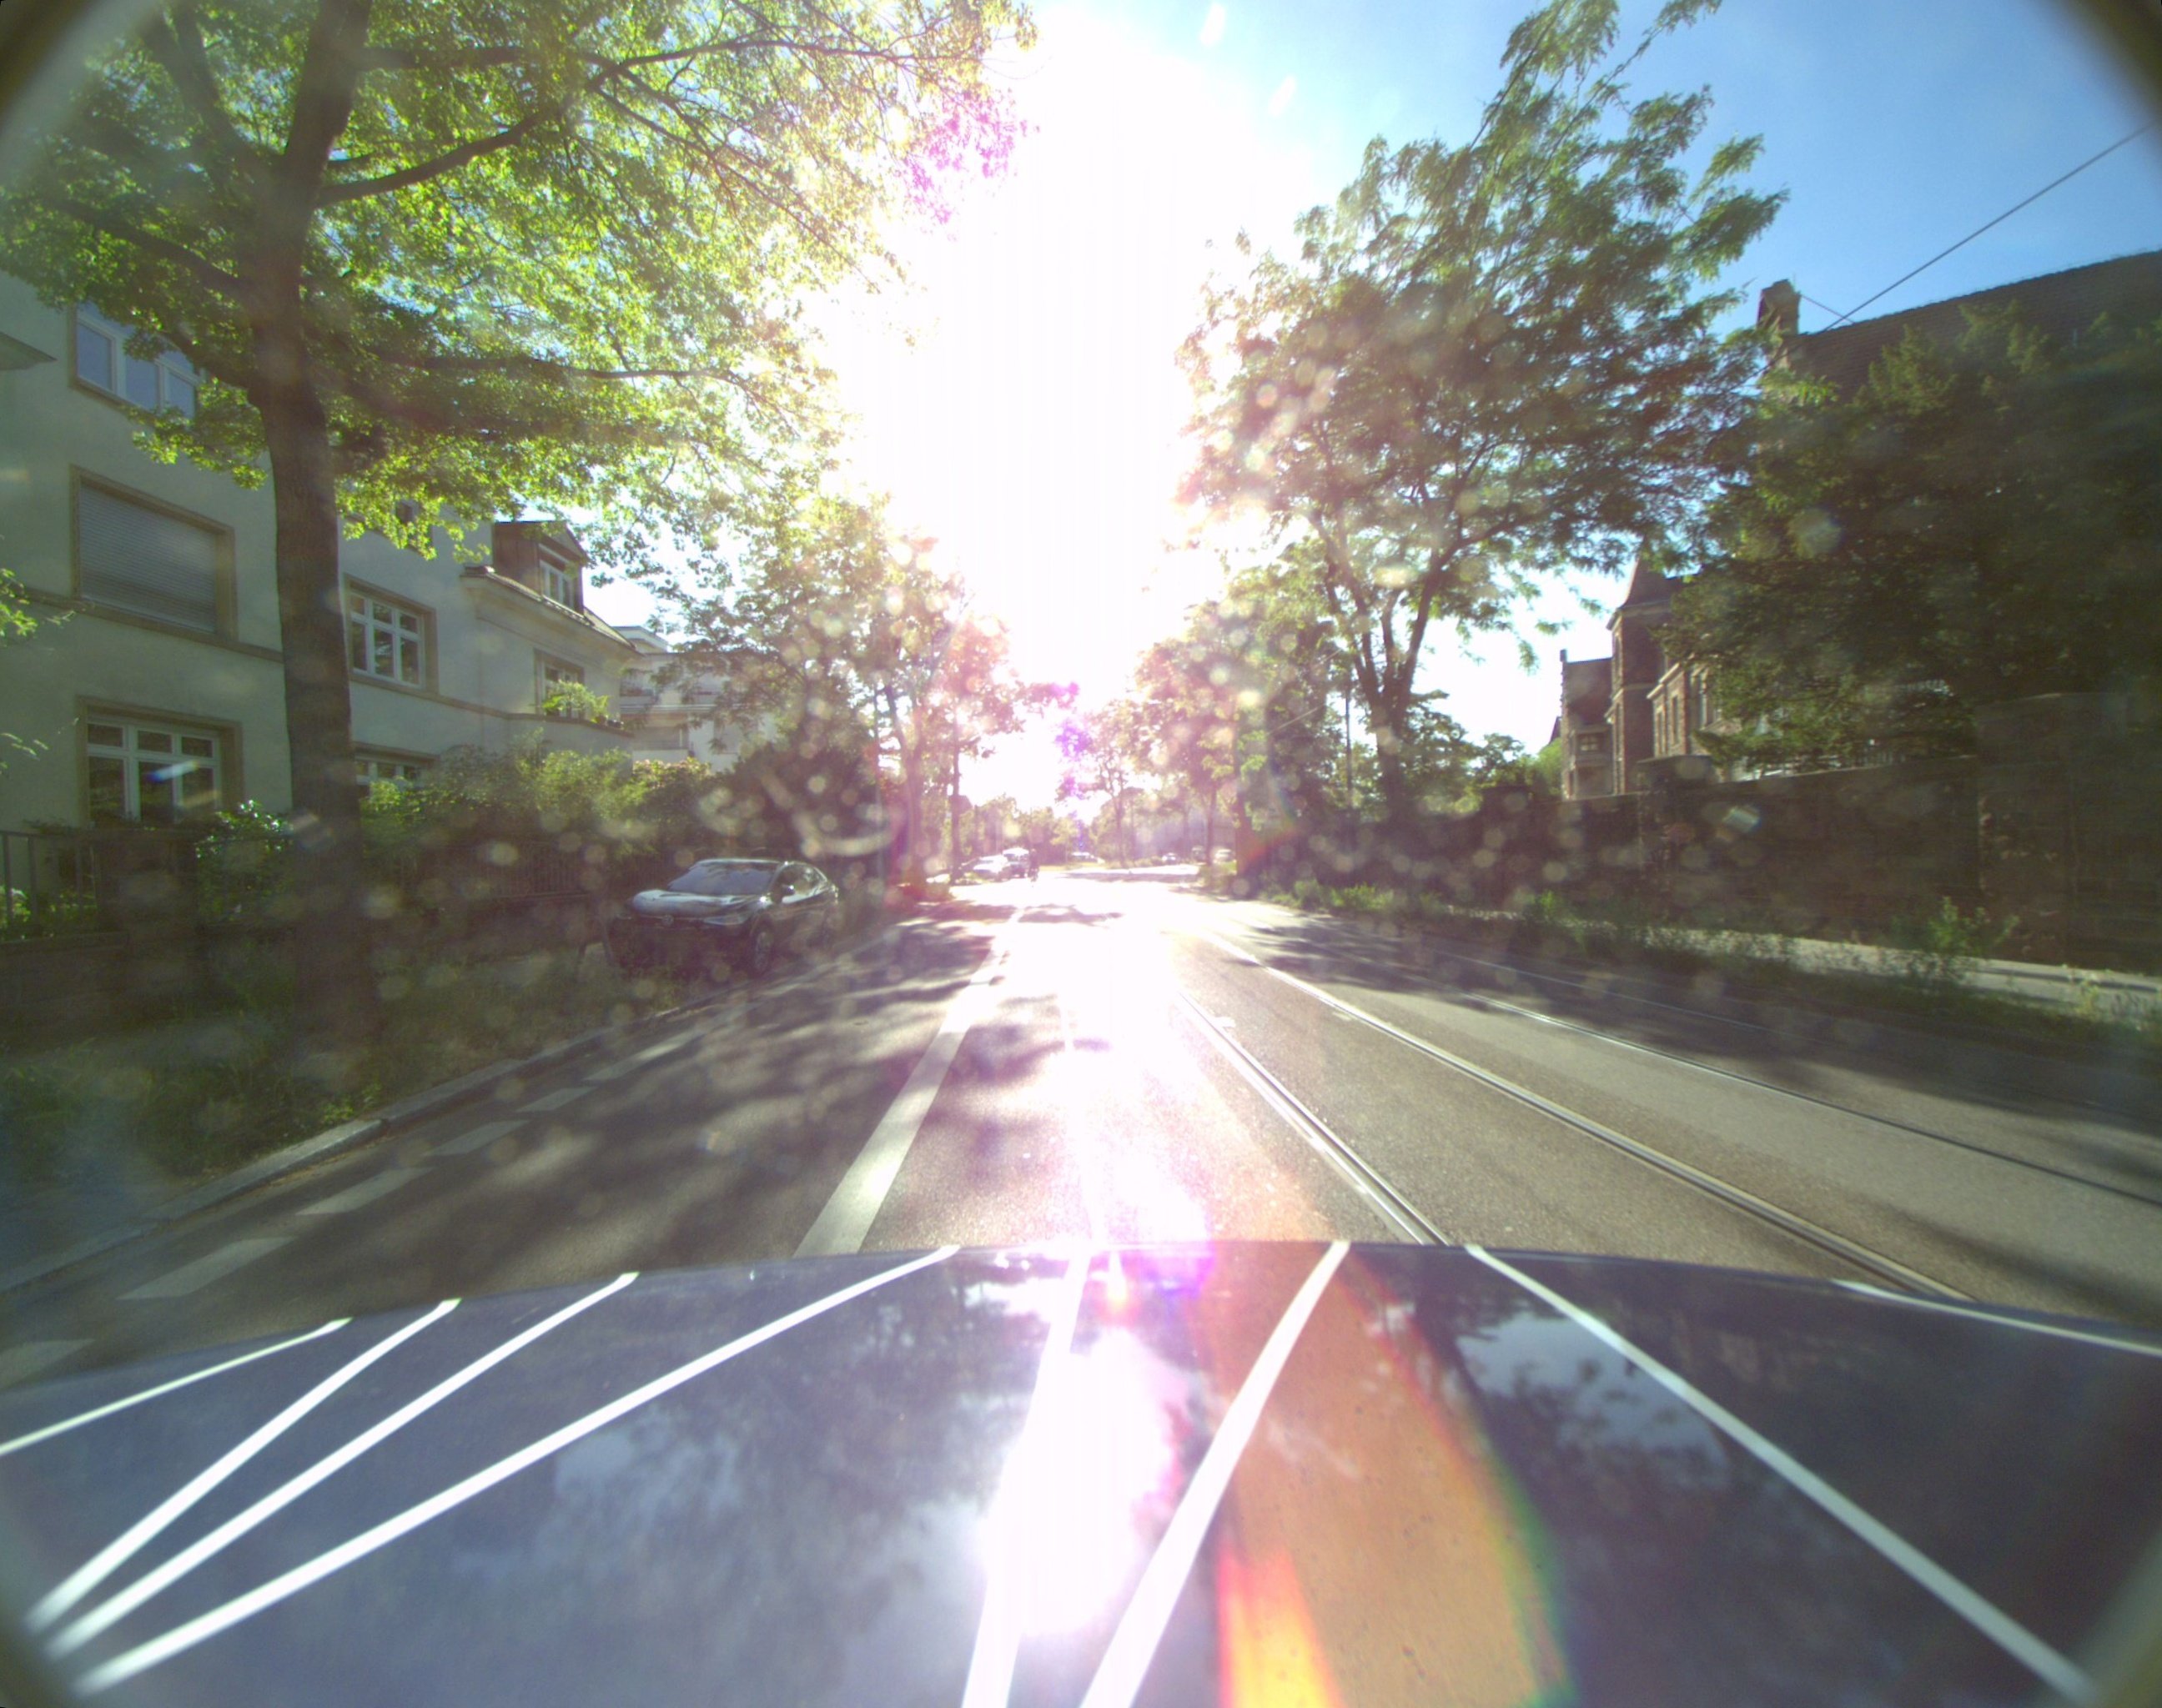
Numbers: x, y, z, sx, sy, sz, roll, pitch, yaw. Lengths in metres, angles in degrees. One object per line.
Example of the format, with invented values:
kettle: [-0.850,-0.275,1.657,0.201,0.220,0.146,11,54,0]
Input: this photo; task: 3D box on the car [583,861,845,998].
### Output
car: [-5.197,0.951,11.514,1.919,1.590,4.258,2,0,-1]

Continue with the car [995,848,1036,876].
car: [-4.402,0.516,51.696,1.900,1.775,4.670,-1,0,6]

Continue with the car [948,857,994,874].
car: [-10.043,1.059,69.545,3.998,1.433,1.813,-2,0,-3]

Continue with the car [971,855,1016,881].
car: [-5.164,0.803,45.340,1.901,1.402,4.260,-1,0,4]

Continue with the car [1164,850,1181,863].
car: [11.913,0.332,98.729,1.997,1.539,4.002,-2,0,8]

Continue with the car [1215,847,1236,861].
car: [19.881,-0.016,104.361,1.874,1.805,4.974,-1,0,21]

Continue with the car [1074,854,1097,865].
car: [0.749,0.940,128.796,3.908,1.683,1.905,-1,0,-1]

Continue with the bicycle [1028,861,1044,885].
bicycle: [-2.237,0.939,37.933,0.588,1.105,1.855,-2,0,1]

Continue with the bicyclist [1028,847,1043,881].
bicyclist: [-2.264,0.501,37.886,0.644,1.632,0.665,-2,1,0]
